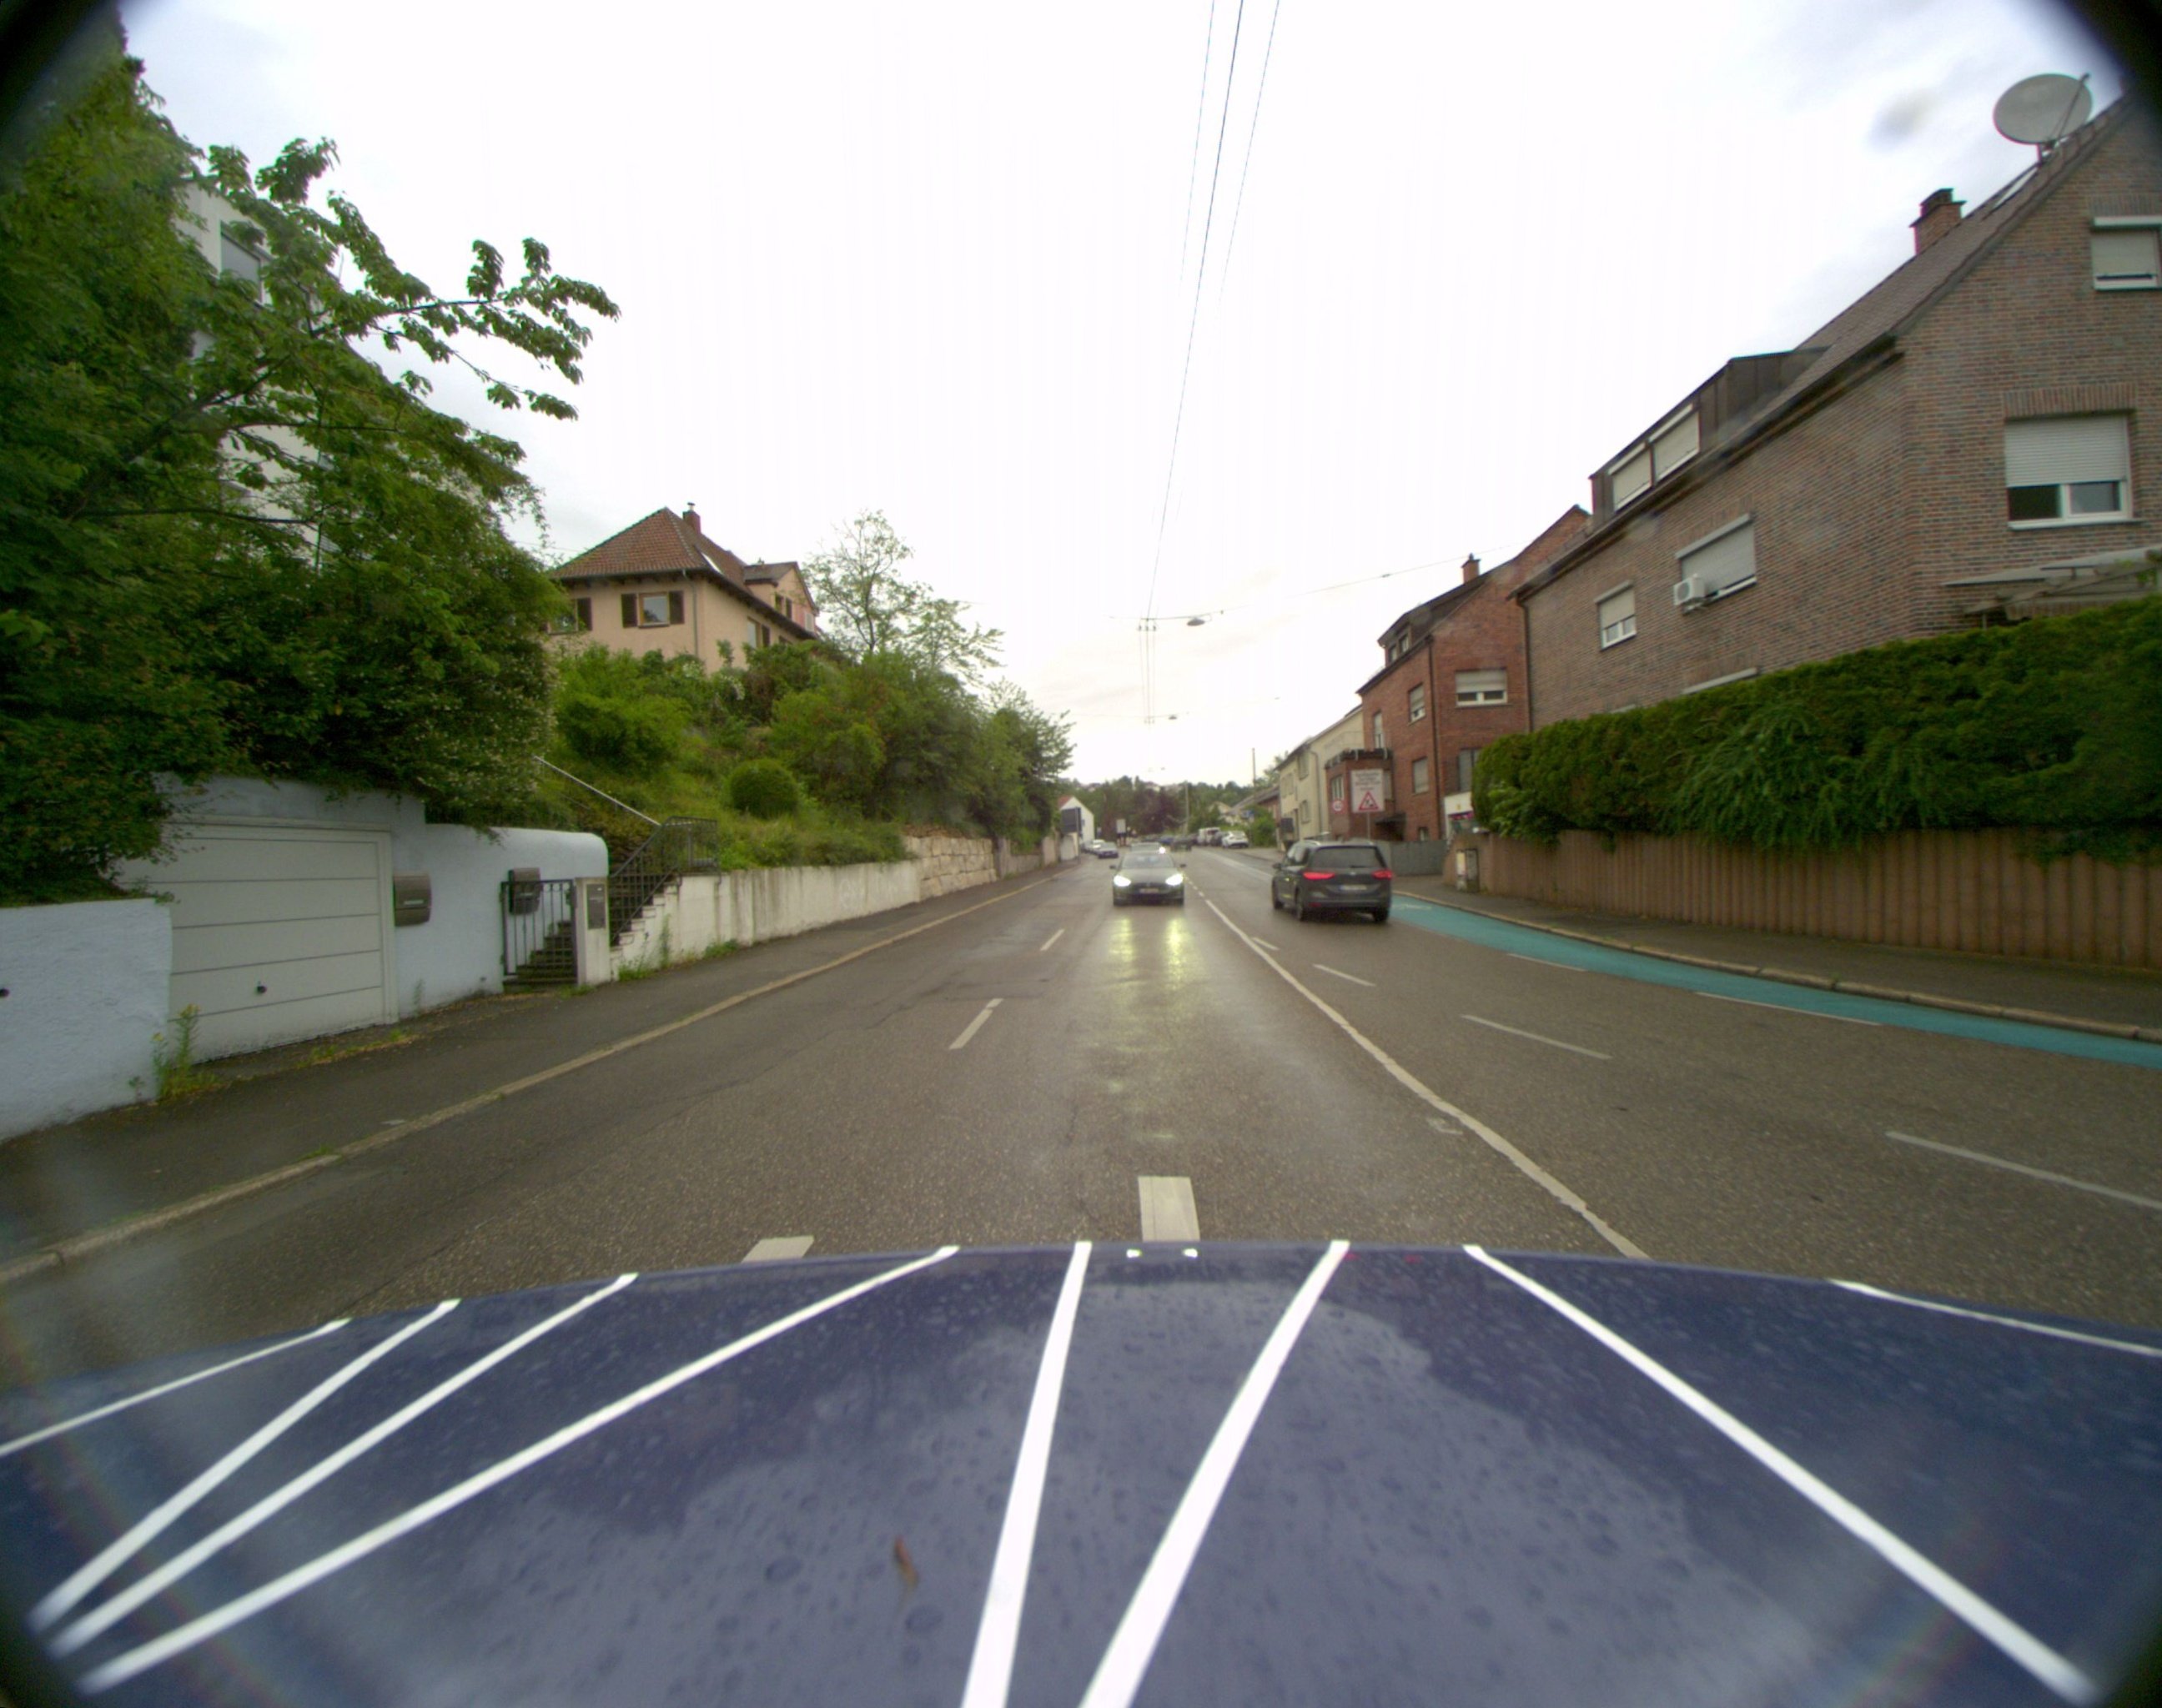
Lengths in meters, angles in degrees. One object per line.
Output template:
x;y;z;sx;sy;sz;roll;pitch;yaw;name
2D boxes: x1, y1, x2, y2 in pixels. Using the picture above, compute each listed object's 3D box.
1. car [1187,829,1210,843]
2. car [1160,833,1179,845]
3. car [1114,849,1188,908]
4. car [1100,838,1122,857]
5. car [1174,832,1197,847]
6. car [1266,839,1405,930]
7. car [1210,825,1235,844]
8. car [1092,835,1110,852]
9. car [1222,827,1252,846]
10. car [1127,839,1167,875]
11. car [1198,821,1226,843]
14.001;-2.156;90.934;1.654;1.482;4.009;-4;1;-7;car
11.890;-2.057;102.108;1.624;1.482;3.900;-4;1;-5;car
1.934;0.618;21.611;1.870;1.407;4.000;-2;1;4;car
2.885;-0.598;72.485;2.002;1.596;4.359;-2;-1;3;car
10.519;-1.466;76.893;1.920;1.438;3.718;-2;1;3;car
5.330;0.542;16.510;1.853;1.671;4.172;0;2;4;car
14.784;-1.993;79.444;1.814;1.793;4.262;-4;1;1;car
2.258;-1.227;88.349;1.820;1.855;4.038;-2;2;-1;car
14.601;-1.643;71.402;1.946;1.557;4.262;-4;1;1;car
3.181;0.119;36.861;1.789;1.580;3.784;-2;1;4;car
14.709;-2.436;85.580;2.257;2.273;4.546;-4;1;0;car
